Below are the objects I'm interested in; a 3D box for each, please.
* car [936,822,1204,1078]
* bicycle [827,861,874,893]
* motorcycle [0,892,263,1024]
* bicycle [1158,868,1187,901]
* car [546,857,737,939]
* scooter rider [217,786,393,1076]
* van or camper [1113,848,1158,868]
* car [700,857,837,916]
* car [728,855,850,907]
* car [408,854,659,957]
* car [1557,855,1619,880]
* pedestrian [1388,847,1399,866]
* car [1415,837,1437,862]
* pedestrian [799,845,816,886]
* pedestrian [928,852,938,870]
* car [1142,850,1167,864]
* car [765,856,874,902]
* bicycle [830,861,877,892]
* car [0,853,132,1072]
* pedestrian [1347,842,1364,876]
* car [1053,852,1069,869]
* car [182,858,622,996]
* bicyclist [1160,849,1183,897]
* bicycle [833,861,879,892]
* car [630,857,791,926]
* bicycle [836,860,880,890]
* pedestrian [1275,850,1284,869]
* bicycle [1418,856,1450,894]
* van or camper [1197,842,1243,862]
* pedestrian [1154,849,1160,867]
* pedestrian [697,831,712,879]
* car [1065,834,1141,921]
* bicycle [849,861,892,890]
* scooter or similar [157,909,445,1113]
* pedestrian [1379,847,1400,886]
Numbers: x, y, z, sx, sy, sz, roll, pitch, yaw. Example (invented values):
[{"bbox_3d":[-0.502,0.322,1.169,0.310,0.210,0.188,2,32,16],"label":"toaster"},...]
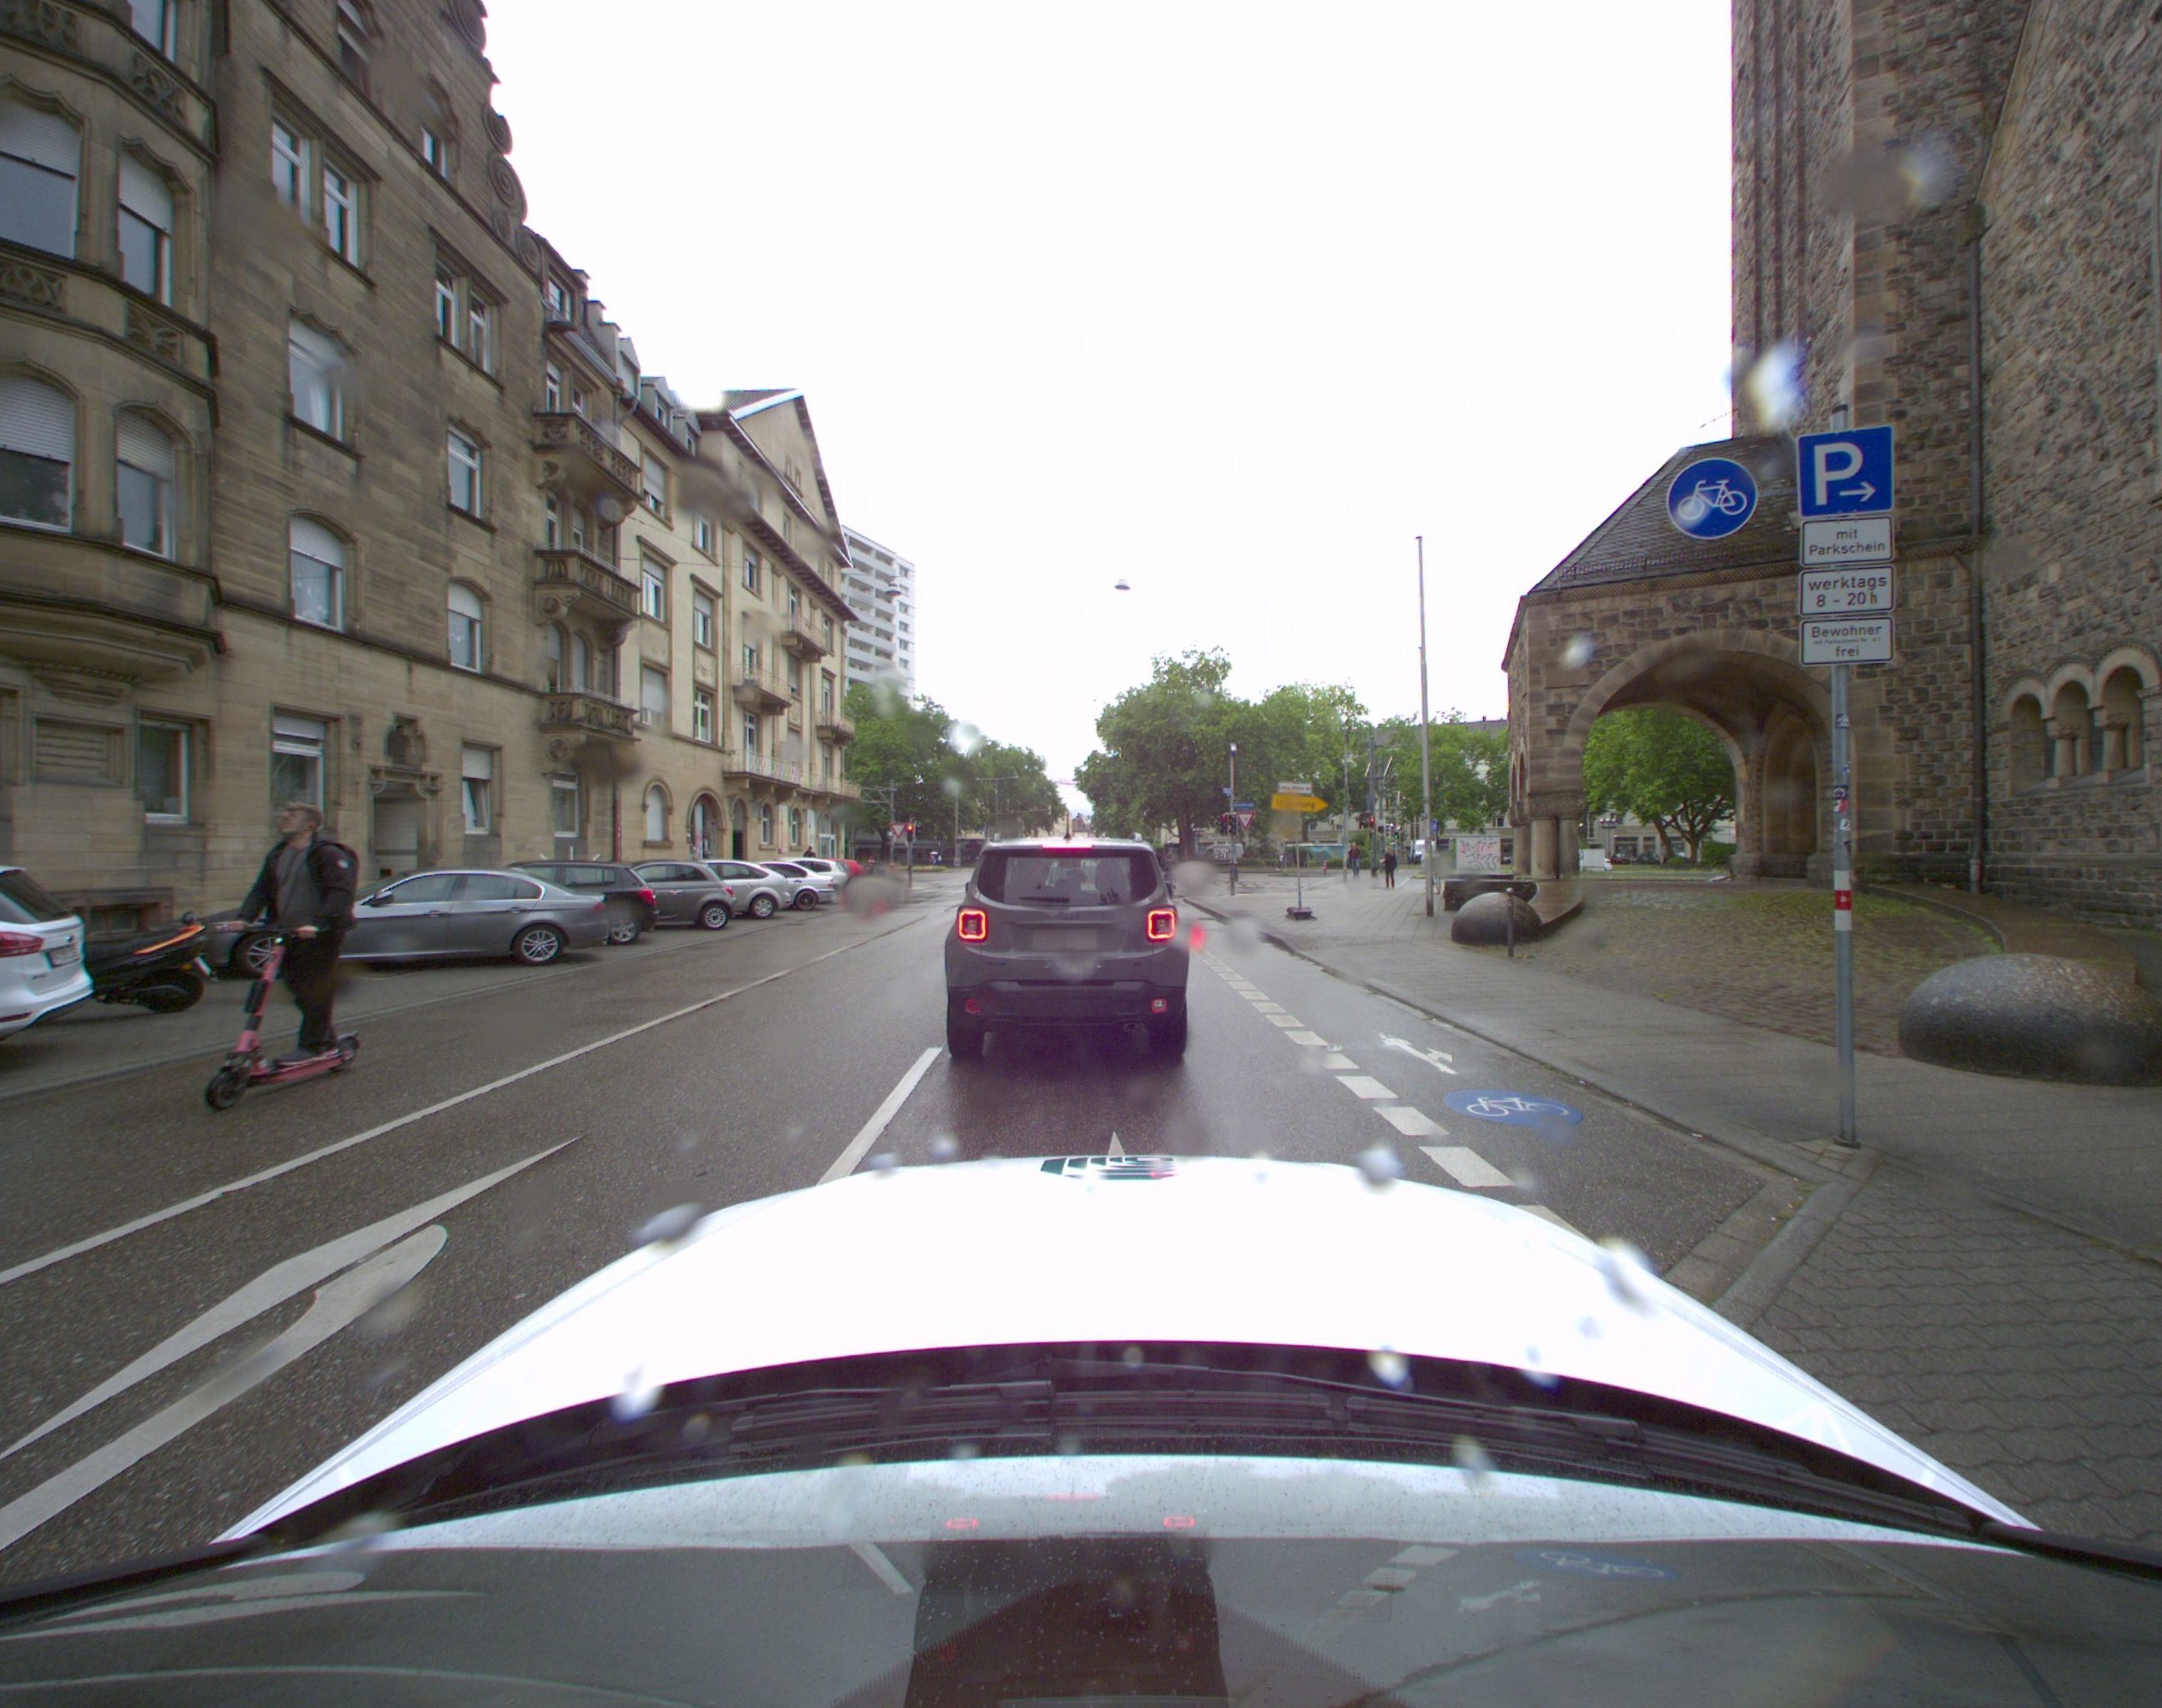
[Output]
[{"bbox_3d":[-0.046,0.646,7.443,1.769,1.687,3.848,-2,0,1],"label":"car"},{"bbox_3d":[-9.483,0.943,33.473,1.758,1.266,0.522,-1,0,0],"label":"bicycle"},{"bbox_3d":[-9.356,0.961,7.901,1.880,1.162,0.627,2,-2,-36],"label":"motorcycle"},{"bbox_3d":[3.142,1.034,28.203,0.689,1.021,2.658,-2,0,1],"label":"bicycle"},{"bbox_3d":[-9.490,0.870,17.670,3.419,1.558,1.634,-1,0,-38],"label":"car"},{"bbox_3d":[-5.447,0.518,5.744,0.708,1.935,0.503,-1,0,-1],"label":"scooter rider"},{"bbox_3d":[8.385,0.645,125.793,6.465,2.912,2.509,-1,0,28],"label":"van or camper"},{"bbox_3d":[-9.155,0.902,23.933,3.419,1.558,1.686,-1,0,-38],"label":"car"},{"bbox_3d":[-9.558,0.835,26.703,3.419,1.558,1.686,-1,0,-38],"label":"car"},{"bbox_3d":[-9.706,0.824,14.612,3.570,1.598,1.587,-1,0,-38],"label":"car"},{"bbox_3d":[33.666,0.889,54.169,3.404,1.552,1.603,-1,0,27],"label":"car"},{"bbox_3d":[25.441,0.235,66.285,0.667,1.554,0.766,-1,-2,30],"label":"pedestrian"},{"bbox_3d":[35.735,-0.443,84.232,1.889,2.555,4.815,-1,0,25],"label":"car"},{"bbox_3d":[-13.296,0.553,39.598,0.565,2.013,0.655,-1,0,1],"label":"pedestrian"},{"bbox_3d":[-15.199,0.676,83.699,0.686,1.826,0.623,-1,0,17],"label":"pedestrian"},{"bbox_3d":[10.914,0.445,120.584,3.411,2.014,1.554,-2,-1,15],"label":"car"},{"bbox_3d":[-9.506,0.858,29.671,3.419,1.558,1.686,-1,0,-38],"label":"car"},{"bbox_3d":[-9.485,0.935,34.020,1.804,1.266,0.498,-1,0,0],"label":"bicycle"},{"bbox_3d":[-9.606,0.813,5.383,4.064,1.555,1.778,-1,0,-39],"label":"car"},{"bbox_3d":[14.483,0.251,42.976,0.780,1.759,0.949,-1,0,16],"label":"pedestrian"},{"bbox_3d":[-2.126,0.642,86.188,1.717,1.739,3.726,-1,0,-2],"label":"car"},{"bbox_3d":[-9.350,0.867,11.676,4.573,1.545,1.668,-1,0,-42],"label":"car"},{"bbox_3d":[3.128,0.633,28.210,0.684,1.617,0.884,-2,0,0],"label":"bicyclist"},{"bbox_3d":[-9.594,0.945,34.706,1.804,1.266,0.498,-1,0,0],"label":"bicycle"},{"bbox_3d":[-9.368,0.883,20.672,3.419,1.558,1.686,-1,0,-38],"label":"car"},{"bbox_3d":[-9.786,0.931,35.741,1.758,1.266,0.608,-1,0,0],"label":"bicycle"},{"bbox_3d":[16.780,0.459,68.765,0.607,1.603,0.497,-1,0,26],"label":"pedestrian"},{"bbox_3d":[11.133,0.632,25.735,0.327,1.154,2.079,-1,0,7],"label":"bicycle"},{"bbox_3d":[16.324,-0.204,95.706,5.234,2.315,2.093,0,0,5],"label":"van or camper"},{"bbox_3d":[8.738,0.455,93.763,0.646,2.013,0.484,-1,0,14],"label":"pedestrian"},{"bbox_3d":[-14.343,0.034,31.029,0.365,1.822,0.347,-1,-1,-1],"label":"pedestrian"},{"bbox_3d":[0.572,0.546,21.141,1.764,2.013,4.001,-1,0,1],"label":"car"},{"bbox_3d":[-9.450,0.970,36.612,1.758,1.266,0.608,-1,0,0],"label":"bicycle"},{"bbox_3d":[-5.436,1.029,5.802,0.698,1.165,1.385,-1,0,-1],"label":"scooter or similar"},{"bbox_3d":[13.260,0.513,34.966,0.776,1.645,0.658,-1,0,22],"label":"pedestrian"}]
